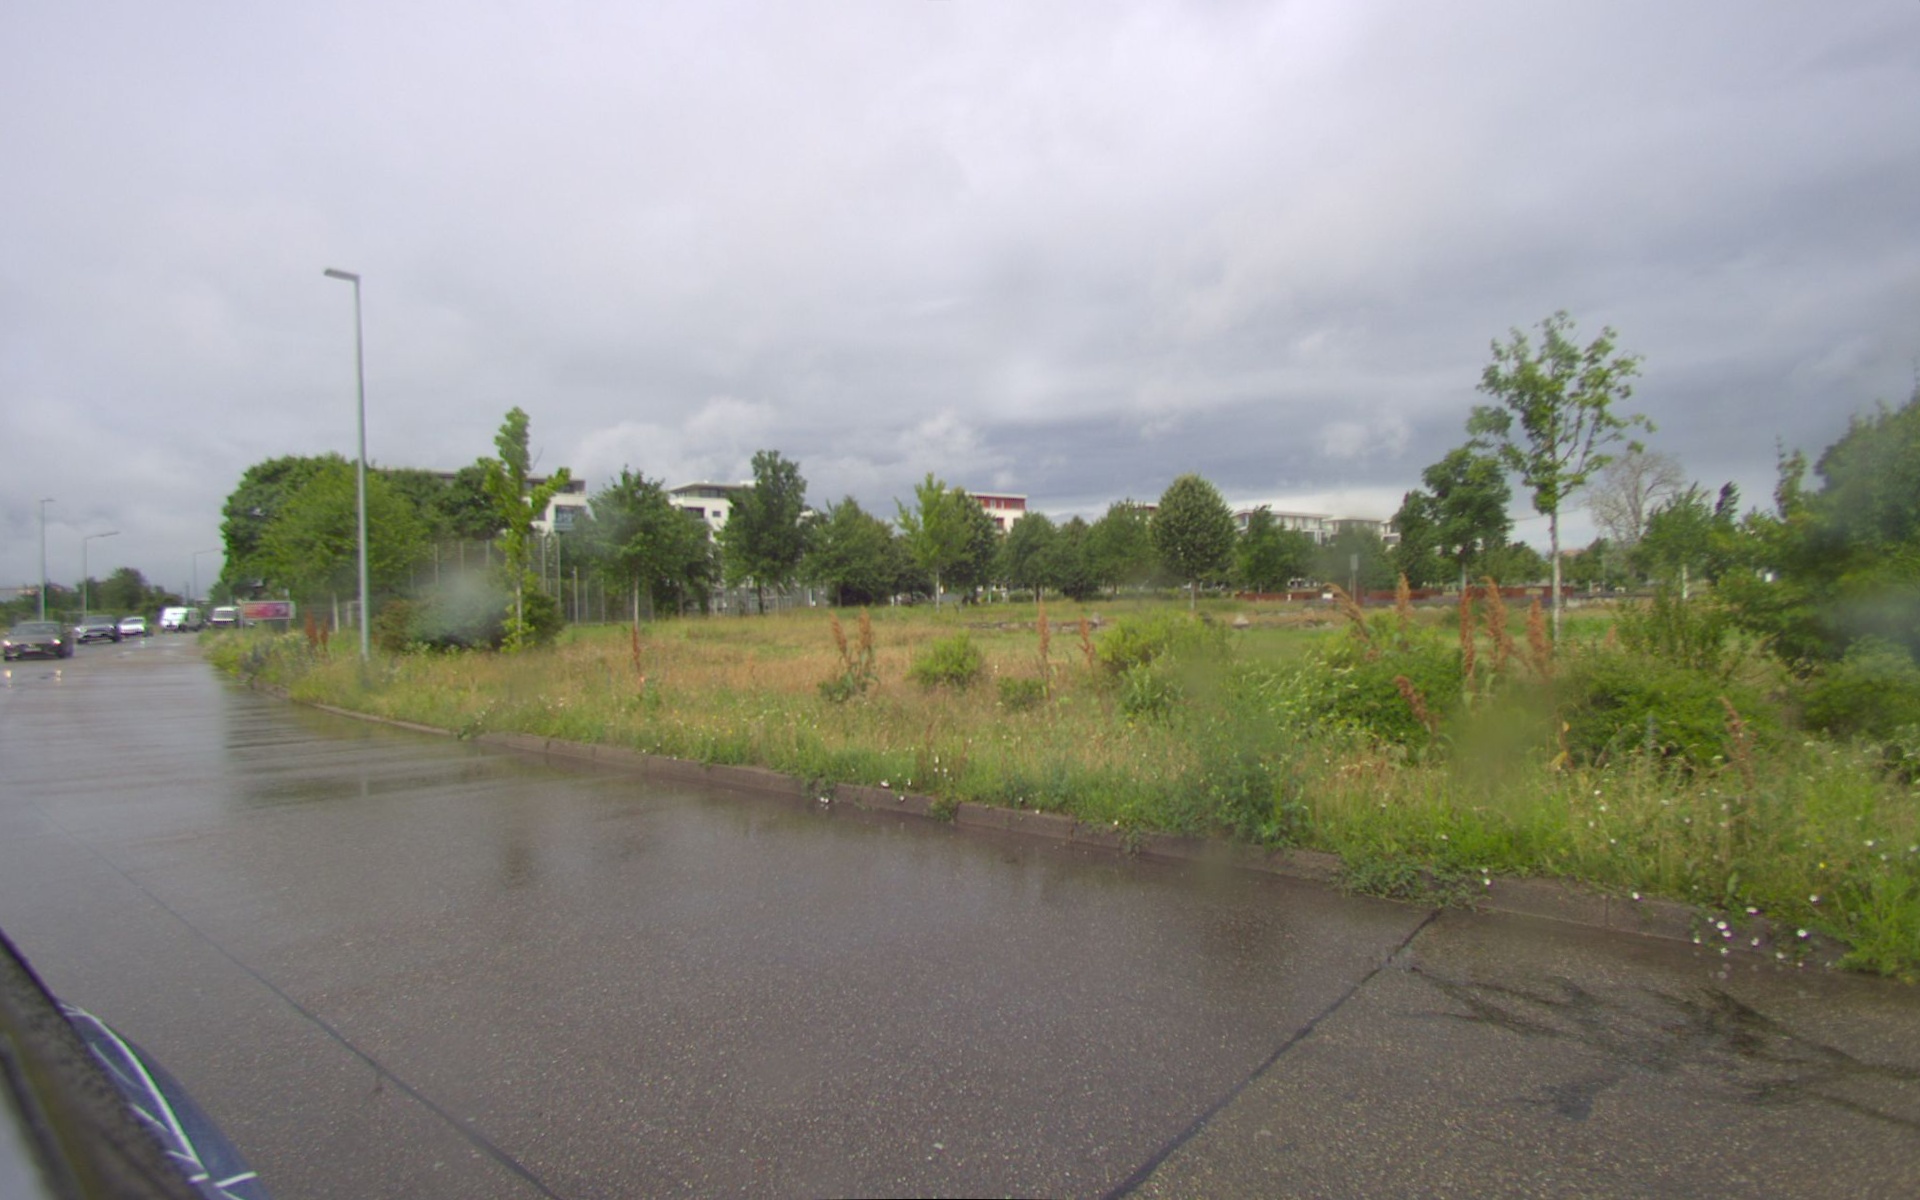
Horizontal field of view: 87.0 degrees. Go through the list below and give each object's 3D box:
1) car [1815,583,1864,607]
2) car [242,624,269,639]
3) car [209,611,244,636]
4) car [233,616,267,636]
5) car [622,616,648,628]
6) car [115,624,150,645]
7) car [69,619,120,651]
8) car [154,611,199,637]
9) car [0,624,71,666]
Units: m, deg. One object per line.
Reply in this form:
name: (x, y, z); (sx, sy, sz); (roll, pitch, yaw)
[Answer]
car: (76.592, -0.423, 88.218); (1.987, 2.029, 3.969); (-2, 0, 23)
car: (-82.144, 3.656, 118.077); (1.811, 1.530, 4.371); (-1, 0, -24)
car: (-85.890, 2.741, 118.527); (2.114, 2.905, 5.293); (2, -1, -23)
car: (-91.359, 3.332, 130.308); (2.039, 2.548, 6.678); (0, -1, -21)
car: (-41.491, 2.741, 129.116); (1.618, 1.406, 4.192); (-4, 2, -39)
car: (-64.558, 2.638, 78.999); (1.813, 1.530, 4.368); (-1, 0, -35)
car: (-51.258, 2.057, 60.005); (1.979, 1.718, 4.338); (-2, 0, -37)
car: (-79.095, 2.371, 102.299); (2.062, 2.491, 5.967); (0, -1, -22)
car: (-35.807, 1.704, 39.153); (1.845, 1.530, 4.366); (1, -2, -38)
